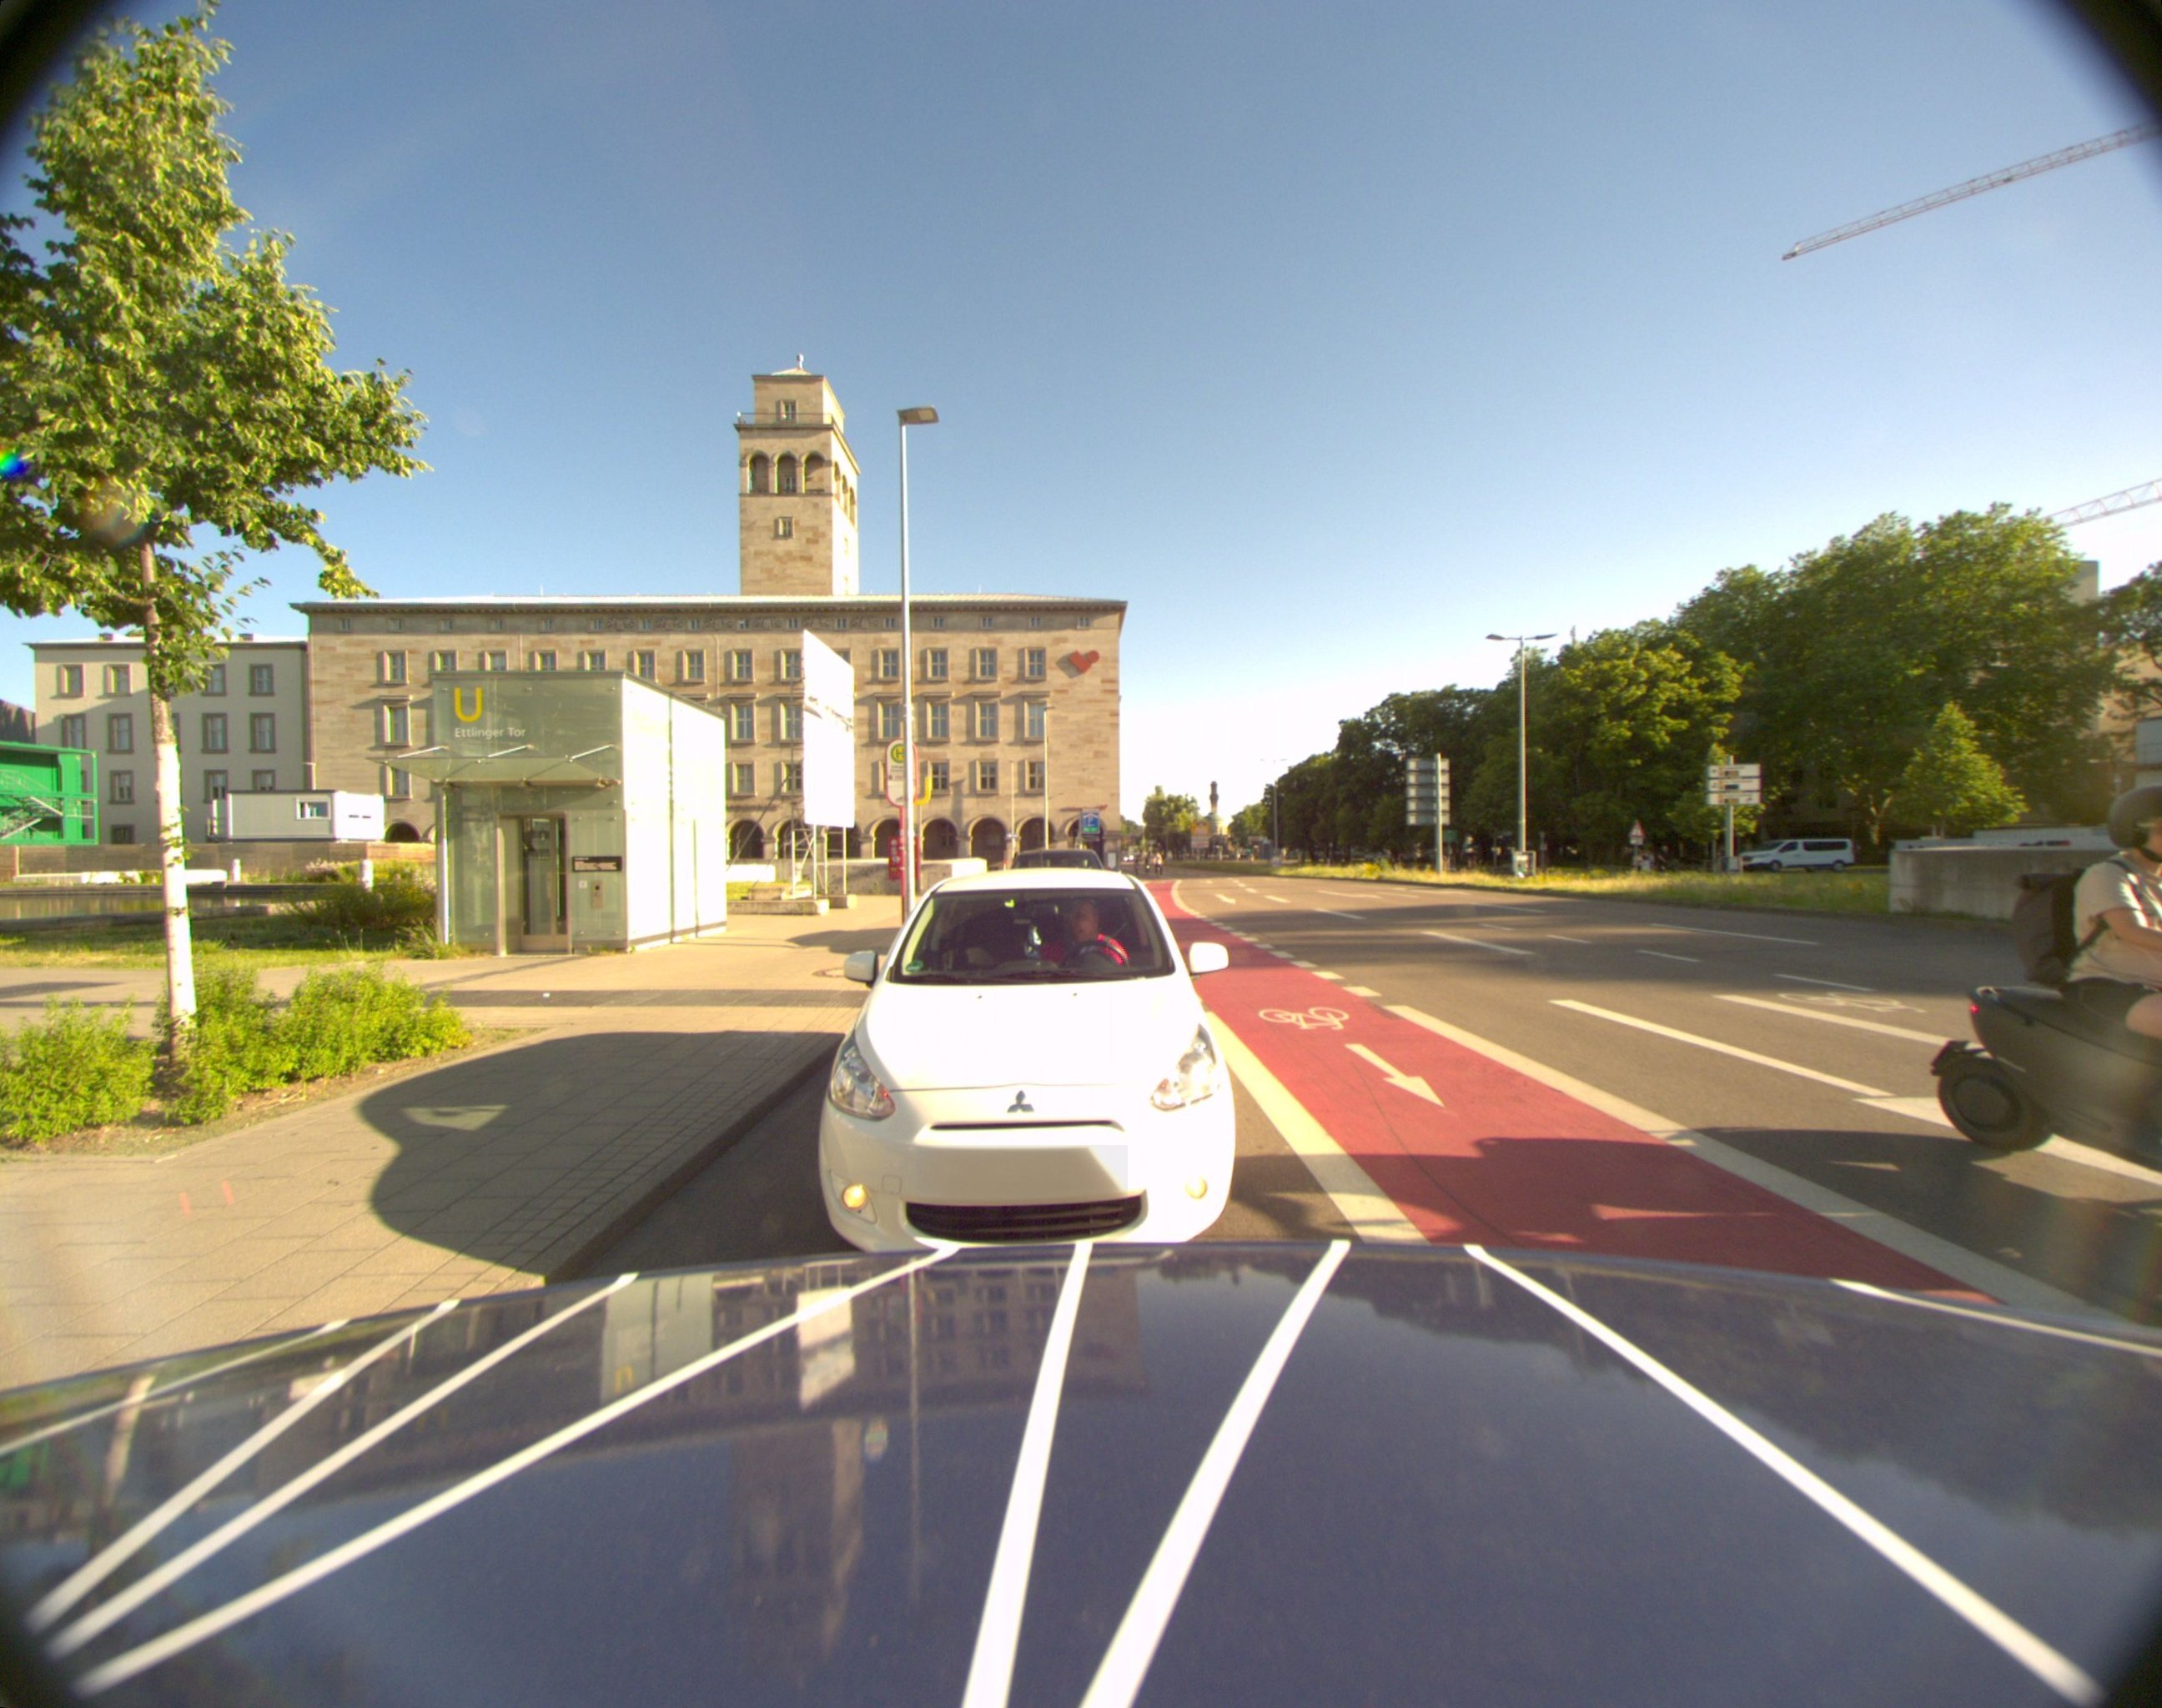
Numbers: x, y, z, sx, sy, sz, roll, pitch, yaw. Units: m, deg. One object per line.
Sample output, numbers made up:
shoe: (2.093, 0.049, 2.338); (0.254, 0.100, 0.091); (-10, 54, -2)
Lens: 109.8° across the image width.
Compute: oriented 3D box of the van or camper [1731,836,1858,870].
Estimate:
van or camper: (42.243, -0.053, 45.070); (5.499, 1.934, 1.951); (-1, 0, 4)

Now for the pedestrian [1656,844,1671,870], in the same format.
pedestrian: (33.799, 0.195, 44.061); (0.499, 1.502, 0.494); (-1, 1, 1)

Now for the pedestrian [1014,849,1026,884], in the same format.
pedestrian: (-3.032, 0.623, 37.671); (0.552, 1.692, 0.553); (-1, 1, -1)

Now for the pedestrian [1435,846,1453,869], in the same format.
pedestrian: (32.585, 0.312, 68.157); (0.951, 1.952, 1.058); (-2, 1, -14)

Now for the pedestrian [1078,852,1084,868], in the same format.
pedestrian: (-0.001, 0.764, 99.319); (0.612, 2.002, 0.727); (-2, 1, 0)

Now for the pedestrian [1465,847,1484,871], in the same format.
pedestrian: (32.732, 0.421, 63.231); (1.126, 1.952, 0.815); (-2, 1, 1)

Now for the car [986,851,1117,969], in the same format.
car: (-0.392, 0.794, 12.819); (1.833, 1.660, 4.000); (-1, 0, 1)

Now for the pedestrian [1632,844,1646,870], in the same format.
pedestrian: (32.217, 0.150, 43.876); (0.499, 1.502, 0.494); (-1, 1, 1)

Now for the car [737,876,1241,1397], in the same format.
car: (-0.251, 0.926, 4.317); (1.519, 1.447, 4.000); (-1, 0, 1)

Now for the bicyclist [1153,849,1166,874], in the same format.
bicyclist: (5.331, 0.511, 51.662); (0.807, 1.690, 0.852); (-1, 1, 1)

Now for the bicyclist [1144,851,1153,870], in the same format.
bicyclist: (5.999, 0.561, 67.346); (0.674, 1.649, 0.877); (-1, 1, 1)

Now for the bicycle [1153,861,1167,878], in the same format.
bicycle: (5.366, 1.044, 51.649); (0.741, 1.140, 1.890); (-1, 0, 1)

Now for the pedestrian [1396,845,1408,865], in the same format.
pedestrian: (32.355, 0.087, 76.585); (0.954, 2.002, 0.842); (-1, 1, 34)

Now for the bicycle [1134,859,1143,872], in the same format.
bicycle: (5.103, 1.011, 67.470); (0.689, 1.185, 1.506); (-1, 1, 1)

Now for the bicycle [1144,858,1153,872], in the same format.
bicycle: (5.998, 0.957, 67.381); (0.689, 1.185, 1.506); (-1, 1, 1)

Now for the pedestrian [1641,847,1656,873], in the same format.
pedestrian: (32.892, 0.323, 44.022); (0.499, 1.502, 0.494); (-1, 1, 1)

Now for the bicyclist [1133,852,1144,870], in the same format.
bicyclist: (5.099, 0.611, 67.448); (0.823, 1.568, 0.877); (-1, 1, 1)

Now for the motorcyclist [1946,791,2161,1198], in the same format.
motorcyclist: (4.268, 0.497, 2.945); (0.823, 1.455, 0.877); (-1, 1, 1)

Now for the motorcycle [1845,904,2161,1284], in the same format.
motorcycle: (4.276, 0.898, 2.877); (0.828, 1.273, 1.944); (-1, 0, 1)
